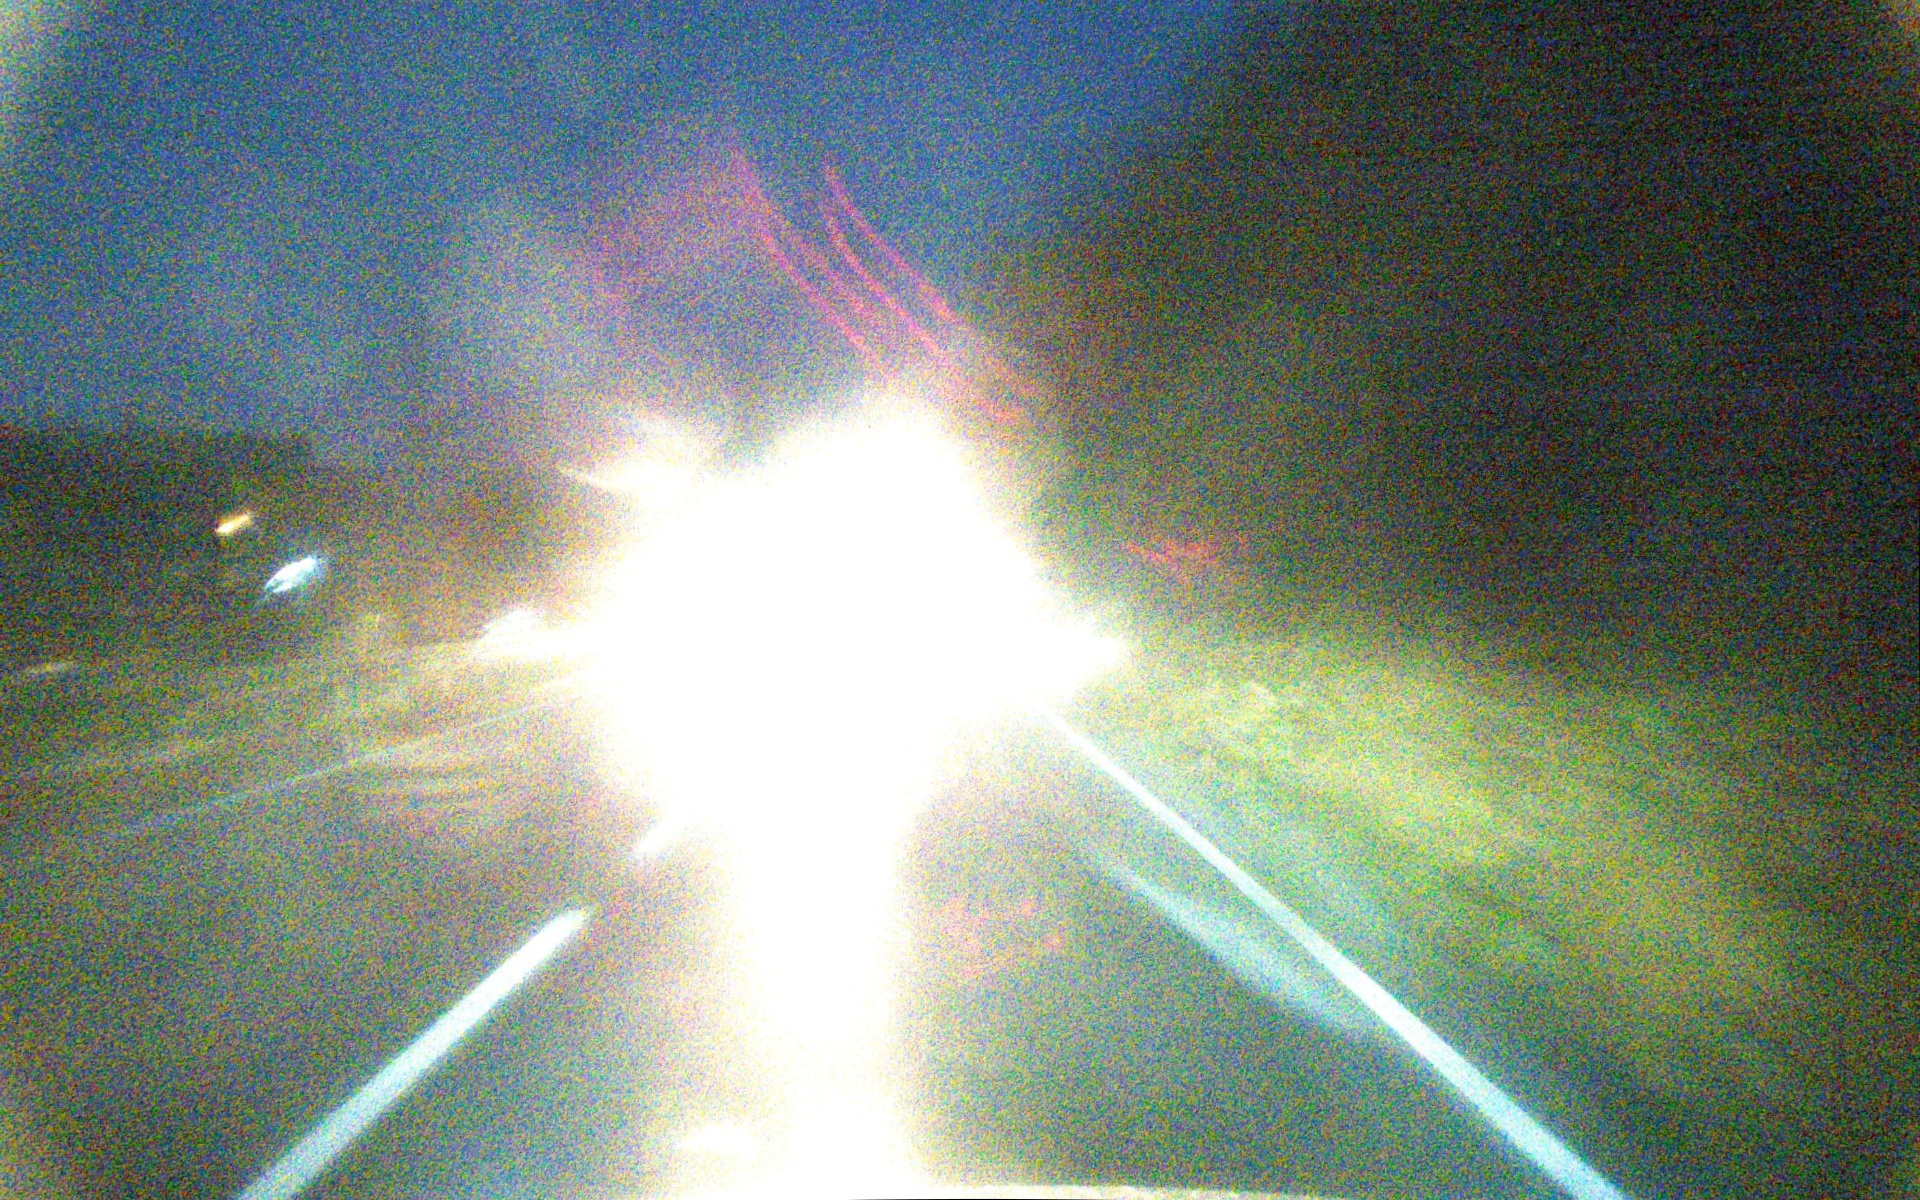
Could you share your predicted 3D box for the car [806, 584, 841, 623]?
[{"bbox_3d":[-8.318,0.187,100.995,1.954,2.312,5.464,1,0,-3],"label":"car"}]
